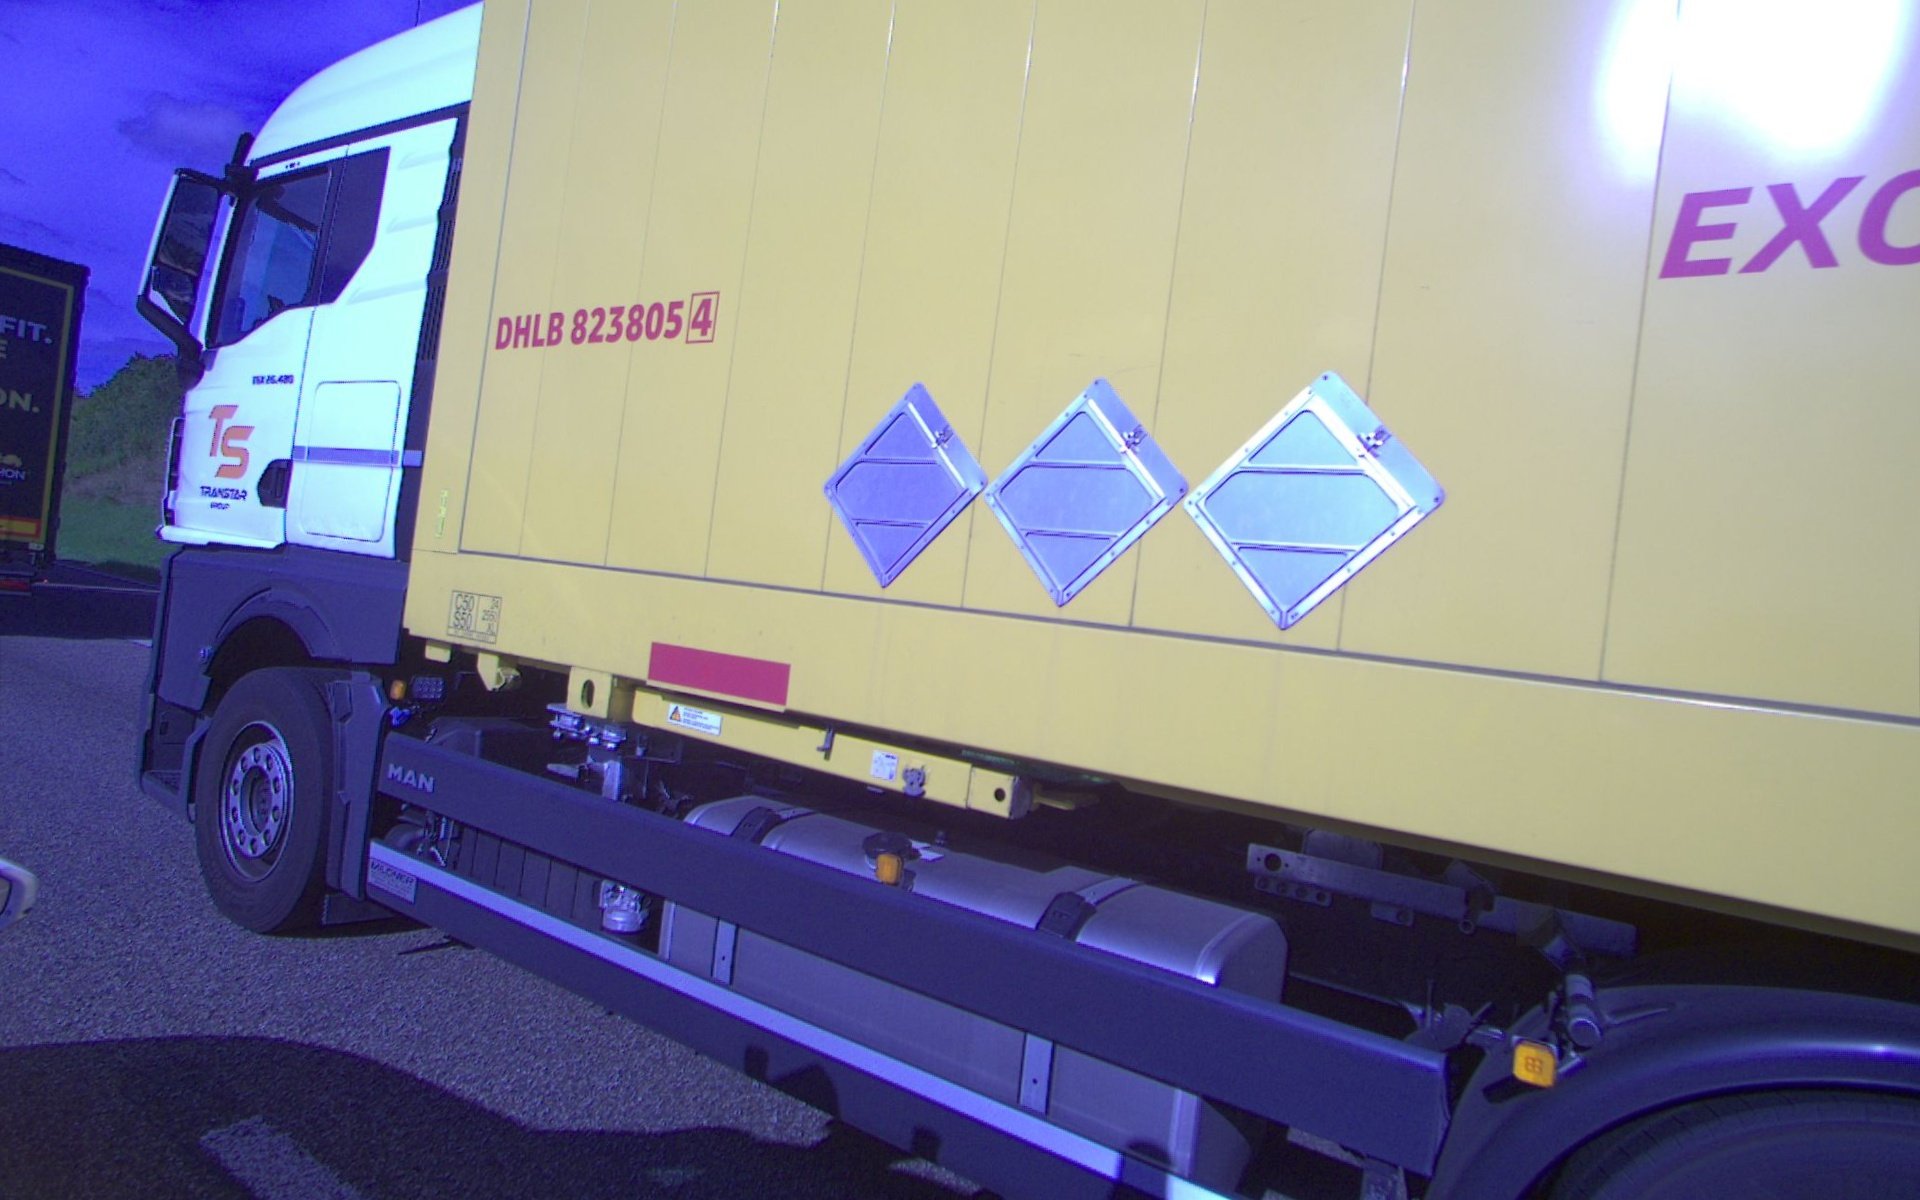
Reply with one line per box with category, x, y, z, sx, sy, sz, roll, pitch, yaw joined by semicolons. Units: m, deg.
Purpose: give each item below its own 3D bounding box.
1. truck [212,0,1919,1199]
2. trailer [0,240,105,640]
truck;2.138;-0.270;2.280;9.504;4.115;2.417;7;-1;32
trailer;-13.798;-2.147;11.953;8.567;4.007;2.721;7;-1;32
